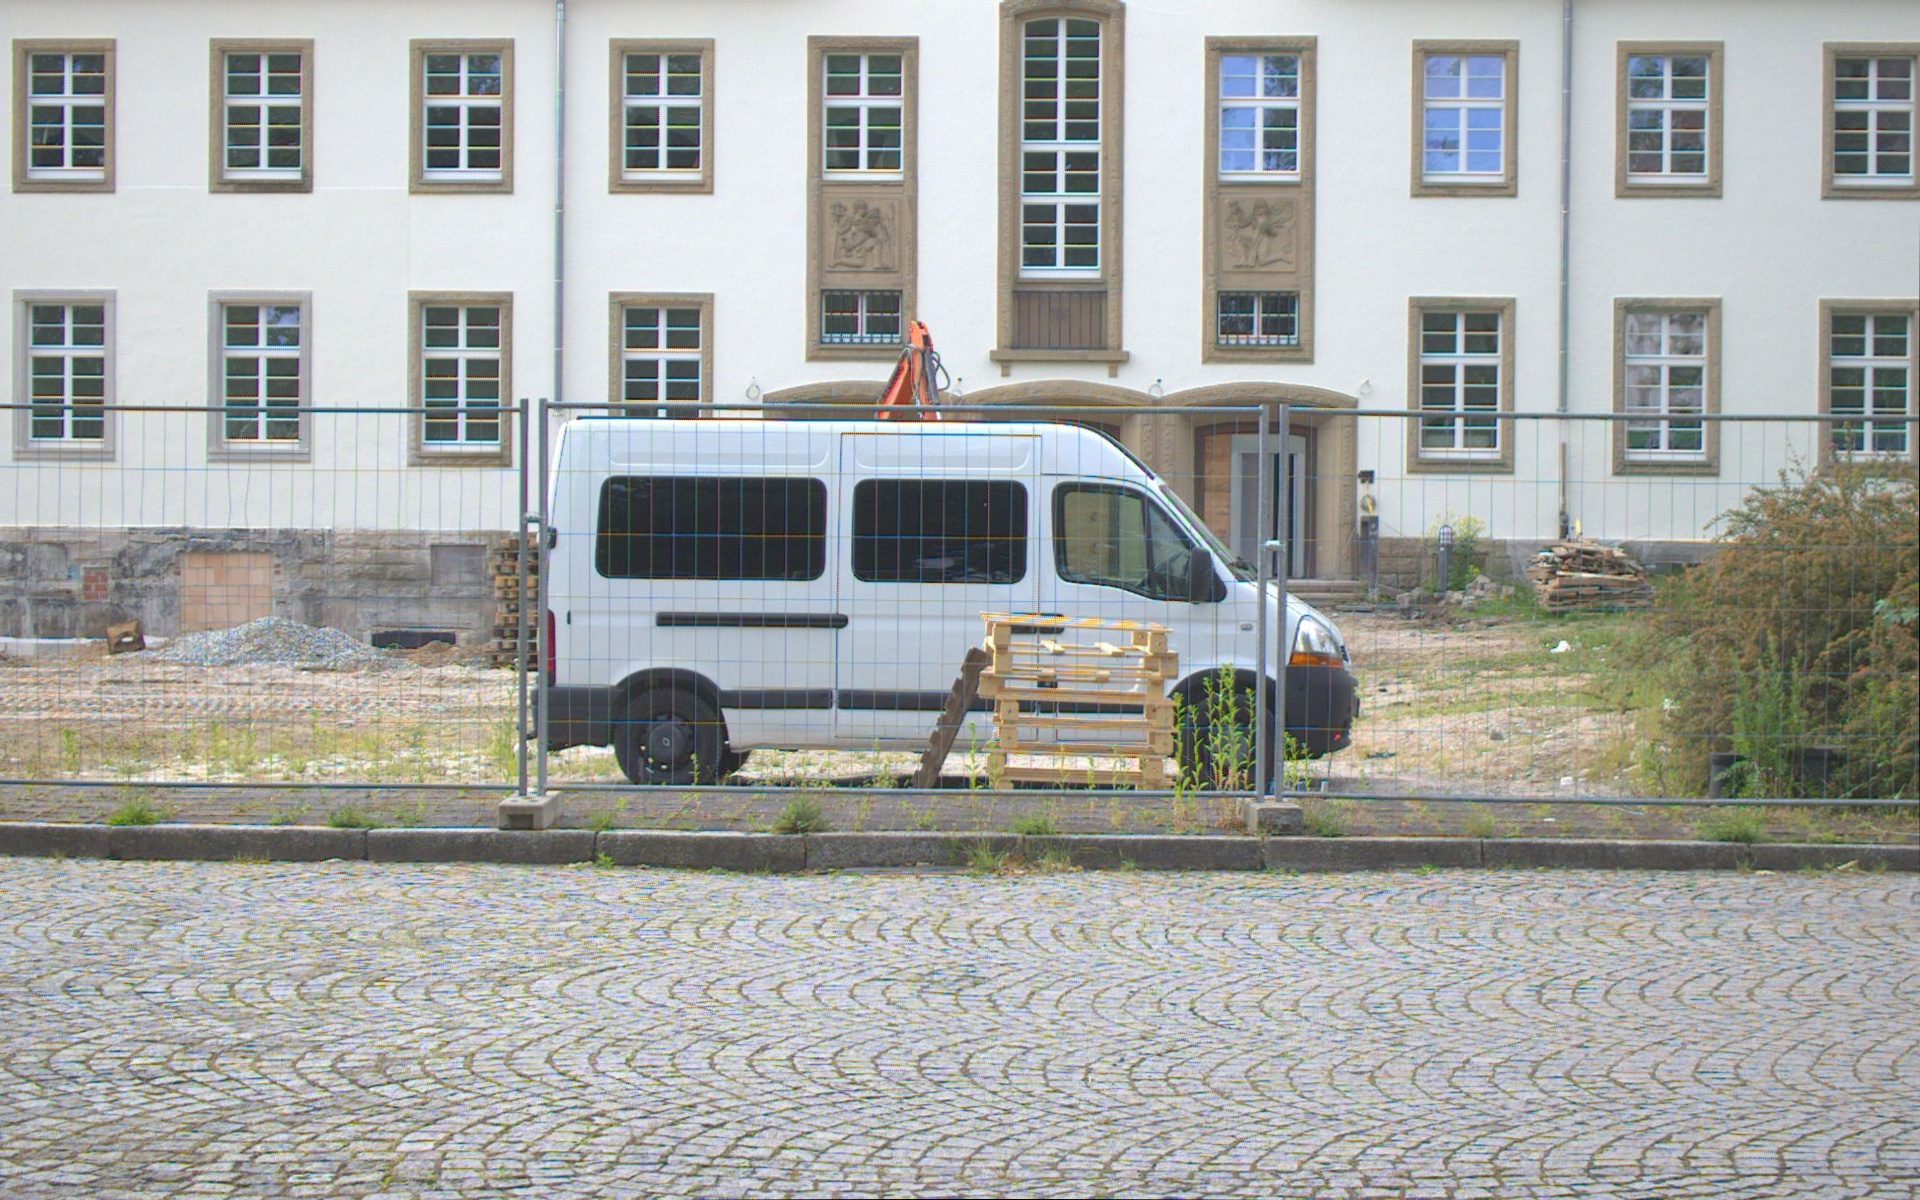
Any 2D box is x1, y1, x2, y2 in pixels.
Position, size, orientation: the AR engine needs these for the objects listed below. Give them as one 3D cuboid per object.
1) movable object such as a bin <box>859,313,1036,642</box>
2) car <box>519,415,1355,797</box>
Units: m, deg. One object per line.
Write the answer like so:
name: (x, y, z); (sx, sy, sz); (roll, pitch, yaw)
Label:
movable object such as a bin: (-0.217, -1.473, 42.299); (1.993, 3.758, 5.318); (1, 1, -1)
car: (-0.108, 0.010, 22.636); (5.263, 2.336, 1.910); (1, 1, 4)
